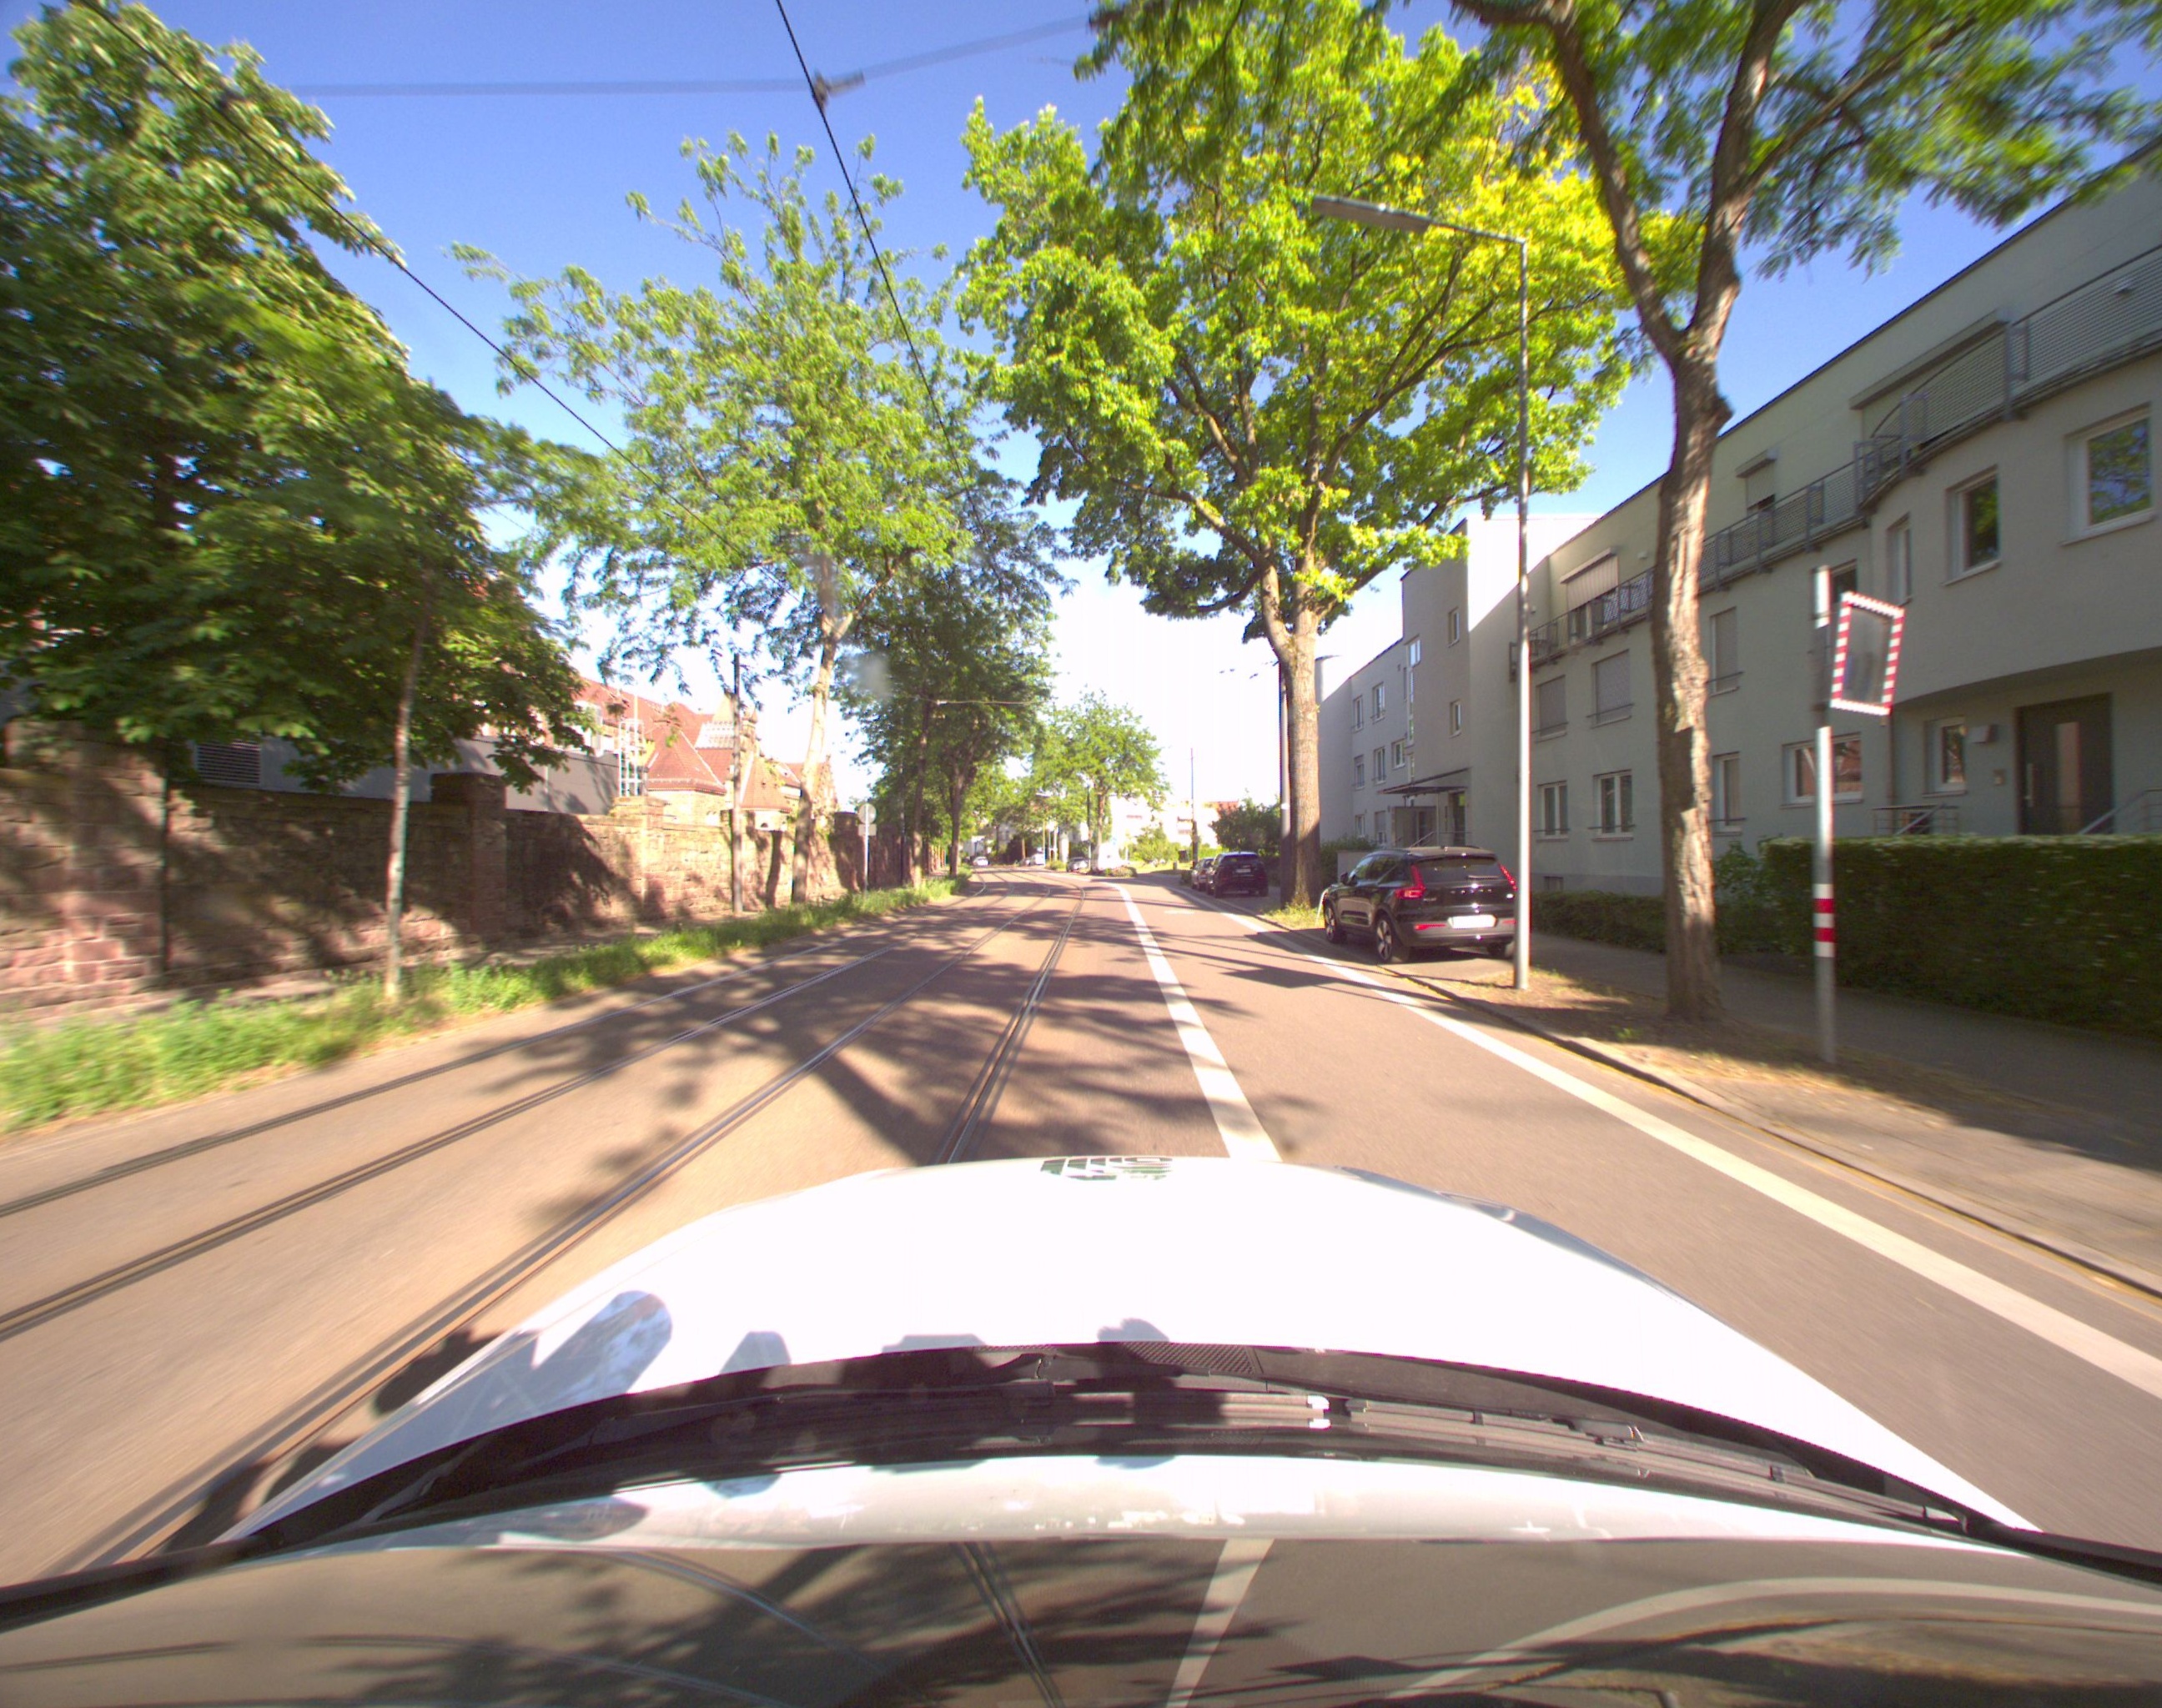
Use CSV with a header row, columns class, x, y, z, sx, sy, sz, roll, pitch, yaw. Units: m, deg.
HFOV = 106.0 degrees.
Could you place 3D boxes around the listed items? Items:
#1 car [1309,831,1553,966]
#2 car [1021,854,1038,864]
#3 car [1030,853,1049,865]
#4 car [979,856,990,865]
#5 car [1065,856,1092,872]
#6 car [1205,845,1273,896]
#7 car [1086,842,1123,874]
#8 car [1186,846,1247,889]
class,x,y,z,sx,sy,sz,roll,pitch,yaw
car,5.215,0.584,12.892,1.995,1.675,4.393,-3,0,1
car,-8.861,0.898,140.125,2.007,1.675,4.150,-3,0,-16
car,-6.848,0.822,134.201,2.007,1.910,4.368,-3,0,-16
car,-17.297,1.151,145.799,1.864,1.675,4.163,-1,0,-7
car,-0.272,0.987,84.189,2.003,1.560,4.376,-1,0,-11
car,5.787,0.570,30.362,1.993,1.675,4.399,-3,0,5
car,1.890,0.354,66.425,1.995,2.458,4.491,-1,0,-11
car,5.898,0.568,35.999,1.996,1.675,4.393,-3,0,1
